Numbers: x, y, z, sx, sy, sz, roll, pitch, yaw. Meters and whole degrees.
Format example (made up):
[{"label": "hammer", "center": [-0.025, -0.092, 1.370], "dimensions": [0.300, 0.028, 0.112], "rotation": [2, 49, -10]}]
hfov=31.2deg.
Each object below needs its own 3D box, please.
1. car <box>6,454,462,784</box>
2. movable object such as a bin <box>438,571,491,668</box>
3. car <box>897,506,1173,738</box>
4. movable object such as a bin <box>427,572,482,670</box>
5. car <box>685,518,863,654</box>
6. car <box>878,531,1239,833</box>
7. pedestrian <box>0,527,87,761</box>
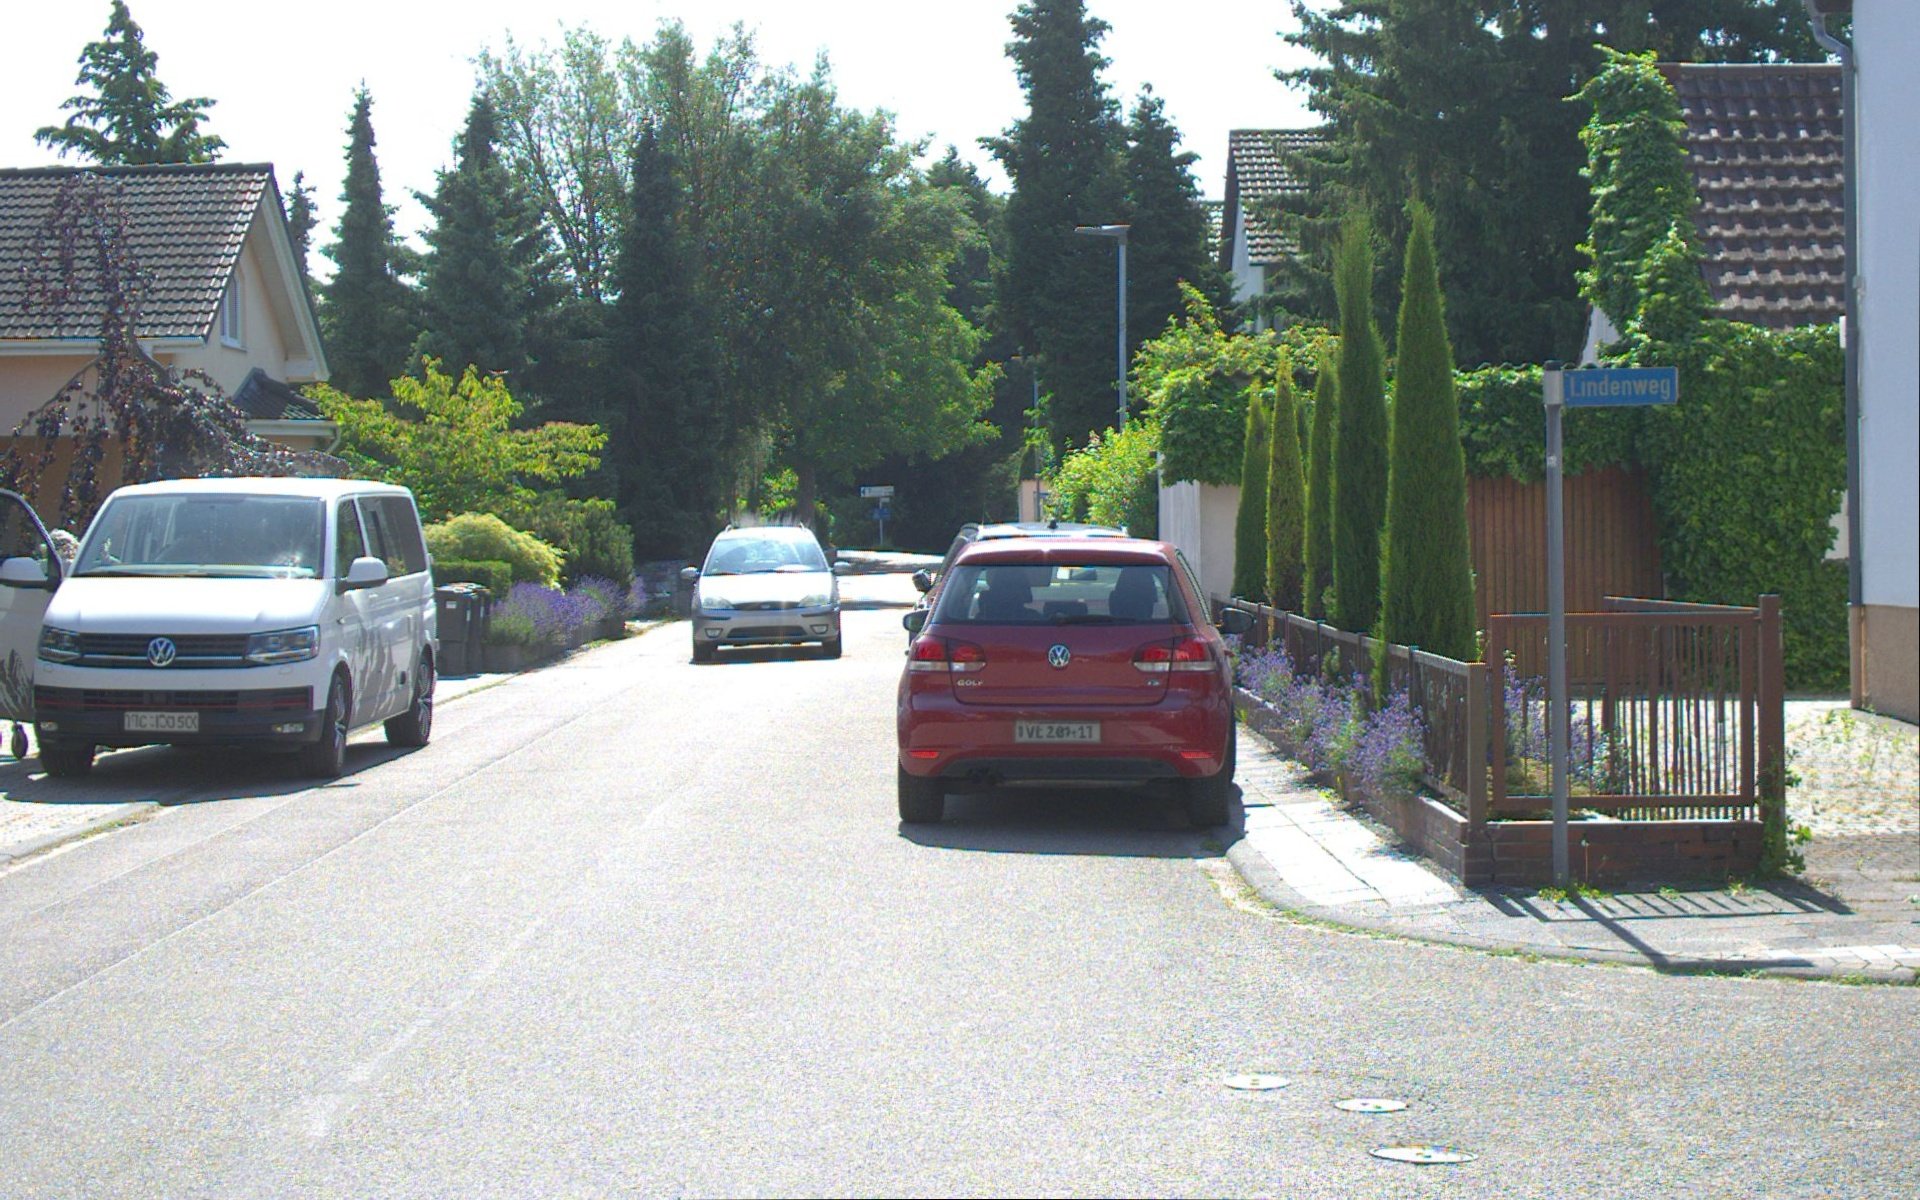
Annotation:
[{"label": "car", "center": [-4.808, 0.067, 23.534], "dimensions": [1.929, 2.007, 4.896], "rotation": [0, 1, 2]}, {"label": "movable object such as a bin", "center": [-5.355, 0.206, 37.158], "dimensions": [0.494, 1.021, 0.447], "rotation": [-1, 1, 0]}, {"label": "car", "center": [0.489, 0.111, 25.947], "dimensions": [1.822, 1.610, 4.001], "rotation": [0, 1, -2]}, {"label": "movable object such as a bin", "center": [-5.388, 0.225, 36.669], "dimensions": [0.494, 1.021, 0.447], "rotation": [-1, 1, 0]}, {"label": "car", "center": [-2.128, -0.207, 40.365], "dimensions": [1.752, 1.482, 4.376], "rotation": [-1, 1, 1]}, {"label": "car", "center": [0.611, 0.368, 19.159], "dimensions": [1.775, 1.474, 4.000], "rotation": [1, 1, 3]}, {"label": "pedestrian", "center": [-6.358, 0.281, 23.082], "dimensions": [0.718, 1.533, 0.641], "rotation": [1, 2, 34]}]
